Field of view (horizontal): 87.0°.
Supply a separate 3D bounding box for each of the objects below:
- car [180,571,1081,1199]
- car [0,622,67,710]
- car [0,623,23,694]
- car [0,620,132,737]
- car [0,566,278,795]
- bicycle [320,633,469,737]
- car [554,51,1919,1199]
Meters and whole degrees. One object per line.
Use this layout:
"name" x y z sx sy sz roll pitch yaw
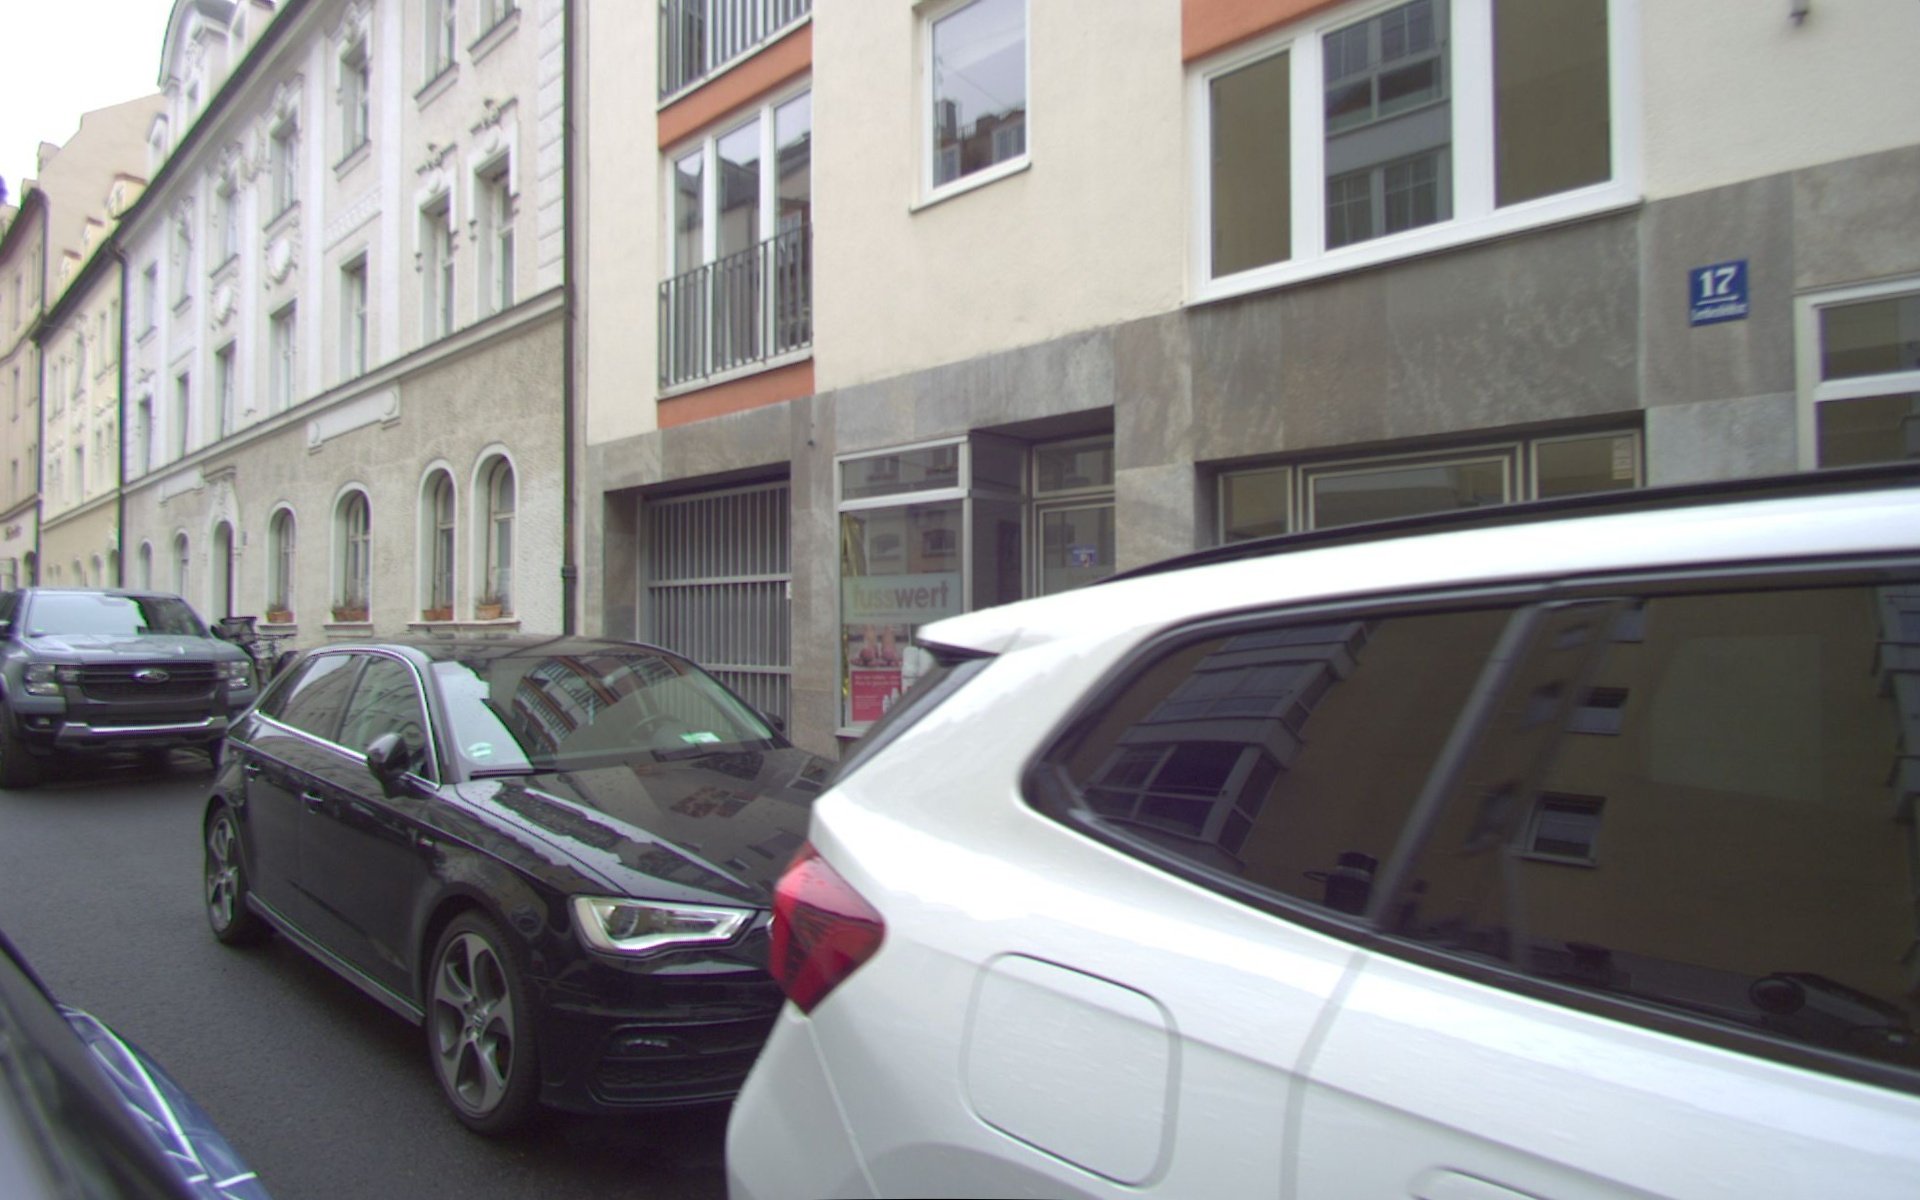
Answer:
"car" -1.637 0.763 4.134 4.027 1.487 1.611 -2 -4 41
"car" -17.905 1.153 18.422 3.714 1.490 1.926 -1 -4 41
"car" -21.910 1.227 21.909 3.714 1.490 1.926 -1 -4 41
"car" -13.356 1.042 14.279 3.714 1.490 1.926 -1 -4 41
"car" -9.090 0.745 10.627 4.905 1.875 1.926 -1 -4 41
"bicycle" -7.233 1.020 12.863 2.826 1.112 0.744 -2 4 43
"car" 1.683 0.518 0.777 4.301 1.617 1.764 -1 -4 38
